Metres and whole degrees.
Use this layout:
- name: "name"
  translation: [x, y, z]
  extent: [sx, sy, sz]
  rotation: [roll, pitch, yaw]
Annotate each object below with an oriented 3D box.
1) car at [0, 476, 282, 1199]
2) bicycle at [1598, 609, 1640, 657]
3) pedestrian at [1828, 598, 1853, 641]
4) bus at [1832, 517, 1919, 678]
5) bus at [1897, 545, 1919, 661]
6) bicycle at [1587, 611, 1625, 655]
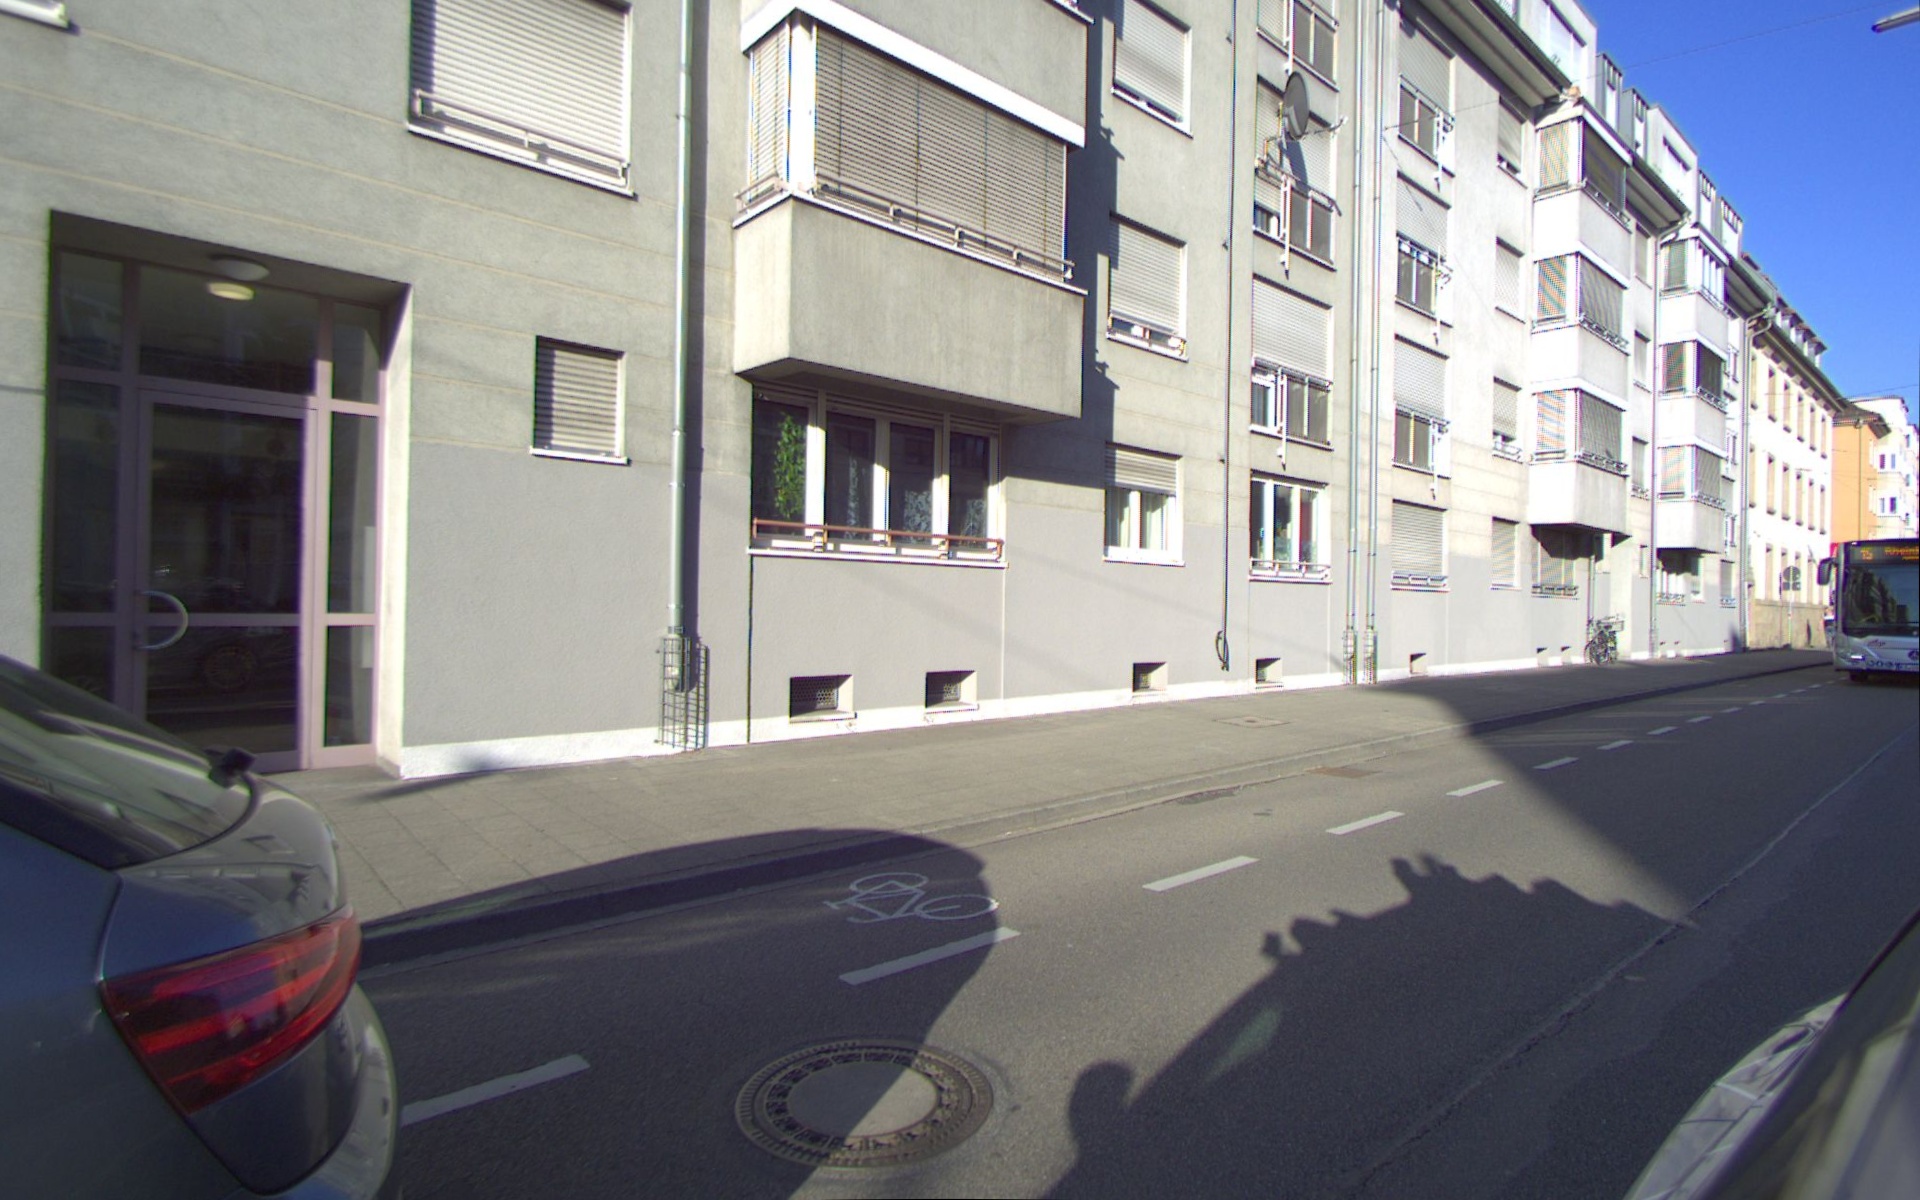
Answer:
- name: "car"
  translation: [-2.843, 0.649, 0.485]
  extent: [3.996, 1.607, 1.770]
  rotation: [1, 0, -41]
- name: "bicycle"
  translation: [15.188, 0.743, 23.306]
  extent: [1.700, 1.044, 0.360]
  rotation: [1, 3, -43]
- name: "pedestrian"
  translation: [36.816, 0.805, 42.328]
  extent: [0.549, 1.752, 0.648]
  rotation: [1, 2, -42]
- name: "bus"
  translation: [22.438, -0.009, 22.953]
  extent: [10.417, 3.116, 2.728]
  rotation: [1, 0, -42]
- name: "bus"
  translation: [30.181, 0.133, 29.924]
  extent: [10.417, 3.116, 2.709]
  rotation: [1, 0, -42]
- name: "bicycle"
  translation: [15.203, 0.757, 23.800]
  extent: [1.700, 0.983, 0.279]
  rotation: [1, 3, -43]
